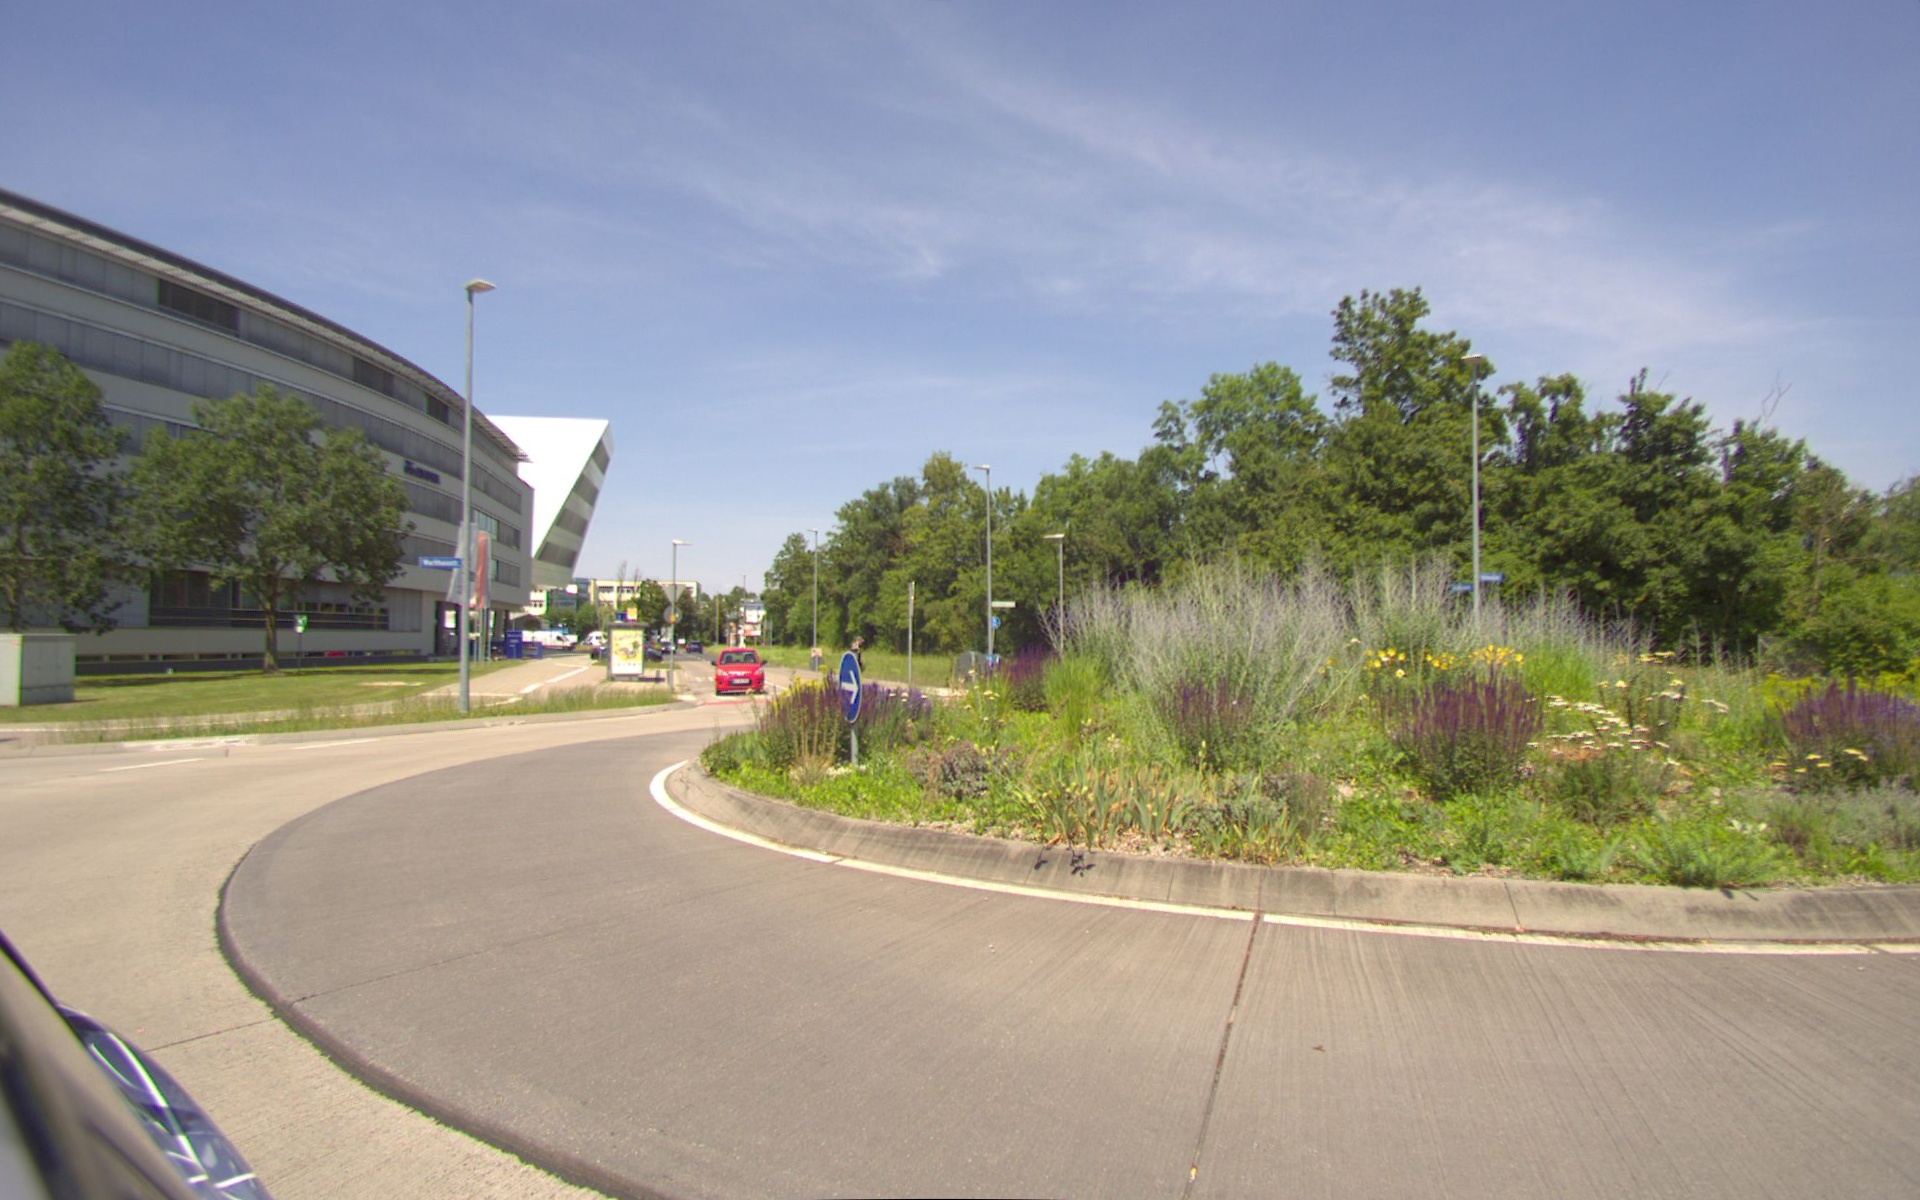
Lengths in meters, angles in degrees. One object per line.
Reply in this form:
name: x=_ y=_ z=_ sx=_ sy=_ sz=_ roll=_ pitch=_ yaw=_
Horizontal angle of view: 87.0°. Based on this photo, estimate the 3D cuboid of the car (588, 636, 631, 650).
car: x=-56.872 y=7.000 z=164.186 sx=6.393 sy=2.166 sz=2.169 roll=-1 pitch=-2 yaw=-11

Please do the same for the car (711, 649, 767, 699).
car: x=-7.428 y=2.421 z=33.803 sx=1.635 sy=1.515 sz=3.366 roll=-1 pitch=-2 yaw=-16

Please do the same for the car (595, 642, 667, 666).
car: x=-22.354 y=3.663 z=68.830 sx=4.503 sy=1.443 sz=1.833 roll=3 pitch=-3 yaw=-18

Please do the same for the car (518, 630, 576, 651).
car: x=-55.316 y=5.453 z=135.788 sx=6.859 sy=2.683 sz=2.259 roll=-1 pitch=-2 yaw=-9

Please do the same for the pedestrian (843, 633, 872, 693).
pedestrian: x=-3.229 y=1.980 z=31.777 sx=0.698 sy=1.836 sz=0.829 roll=3 pitch=-3 yaw=-17

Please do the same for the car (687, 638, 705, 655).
car: x=-33.644 y=5.917 z=128.911 sx=1.966 sy=2.029 sz=4.012 roll=0 pitch=-2 yaw=-17
